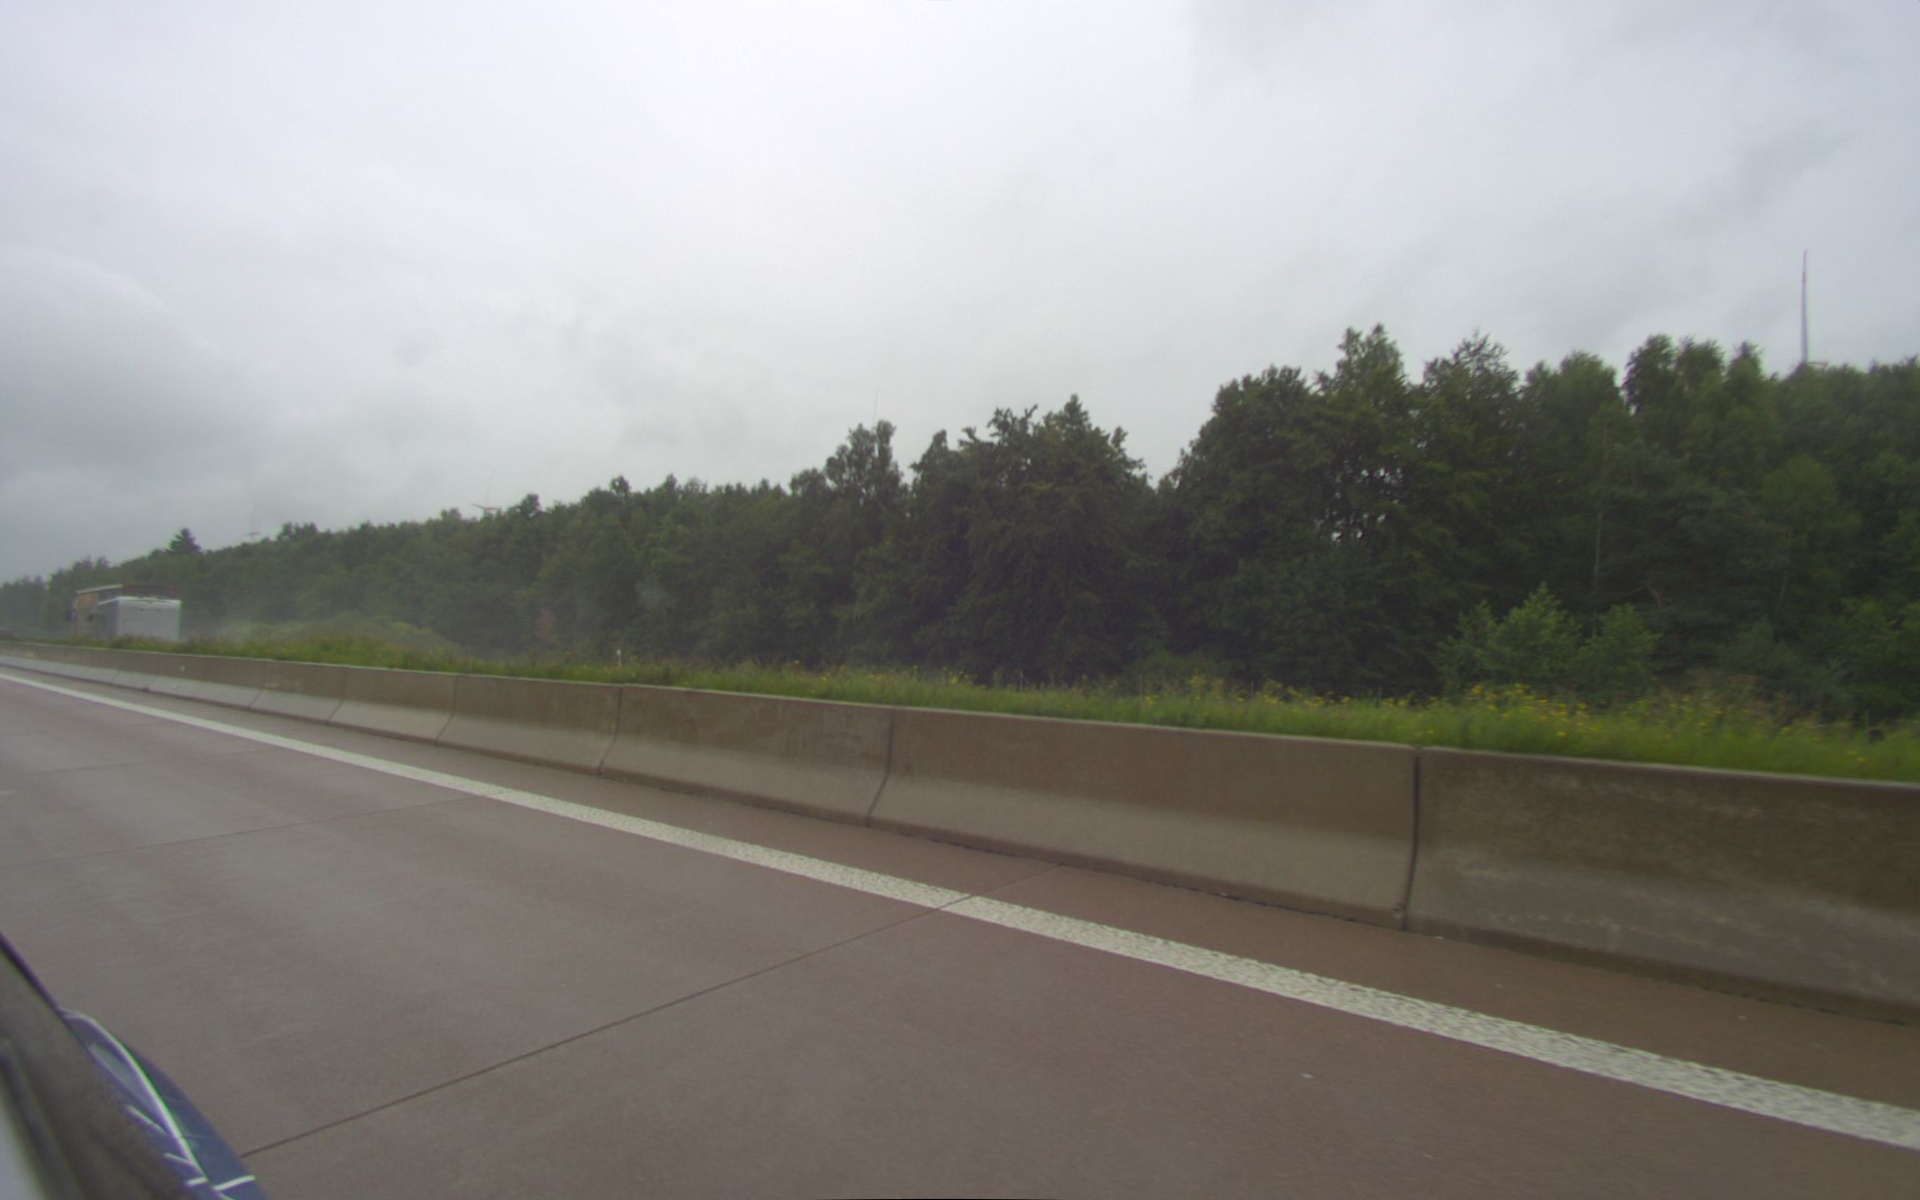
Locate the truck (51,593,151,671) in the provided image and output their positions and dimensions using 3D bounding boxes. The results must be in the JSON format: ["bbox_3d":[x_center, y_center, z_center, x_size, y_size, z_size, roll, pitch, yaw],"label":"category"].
[{"bbox_3d":[-59.588,2.119,70.127,8.946,5.052,3.885,-1,-1,41],"label":"truck"}]

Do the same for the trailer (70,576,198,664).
[{"bbox_3d":[-52.603,1.259,64.197,14.228,5.097,3.950,-1,-1,41],"label":"trailer"}]

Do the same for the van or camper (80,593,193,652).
[{"bbox_3d":[-38.057,1.042,46.709,6.483,2.423,2.763,-1,2,40],"label":"van or camper"}]

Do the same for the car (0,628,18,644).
[{"bbox_3d":[-84.788,3.194,89.799,3.083,1.367,1.401,-1,2,41],"label":"car"}]
